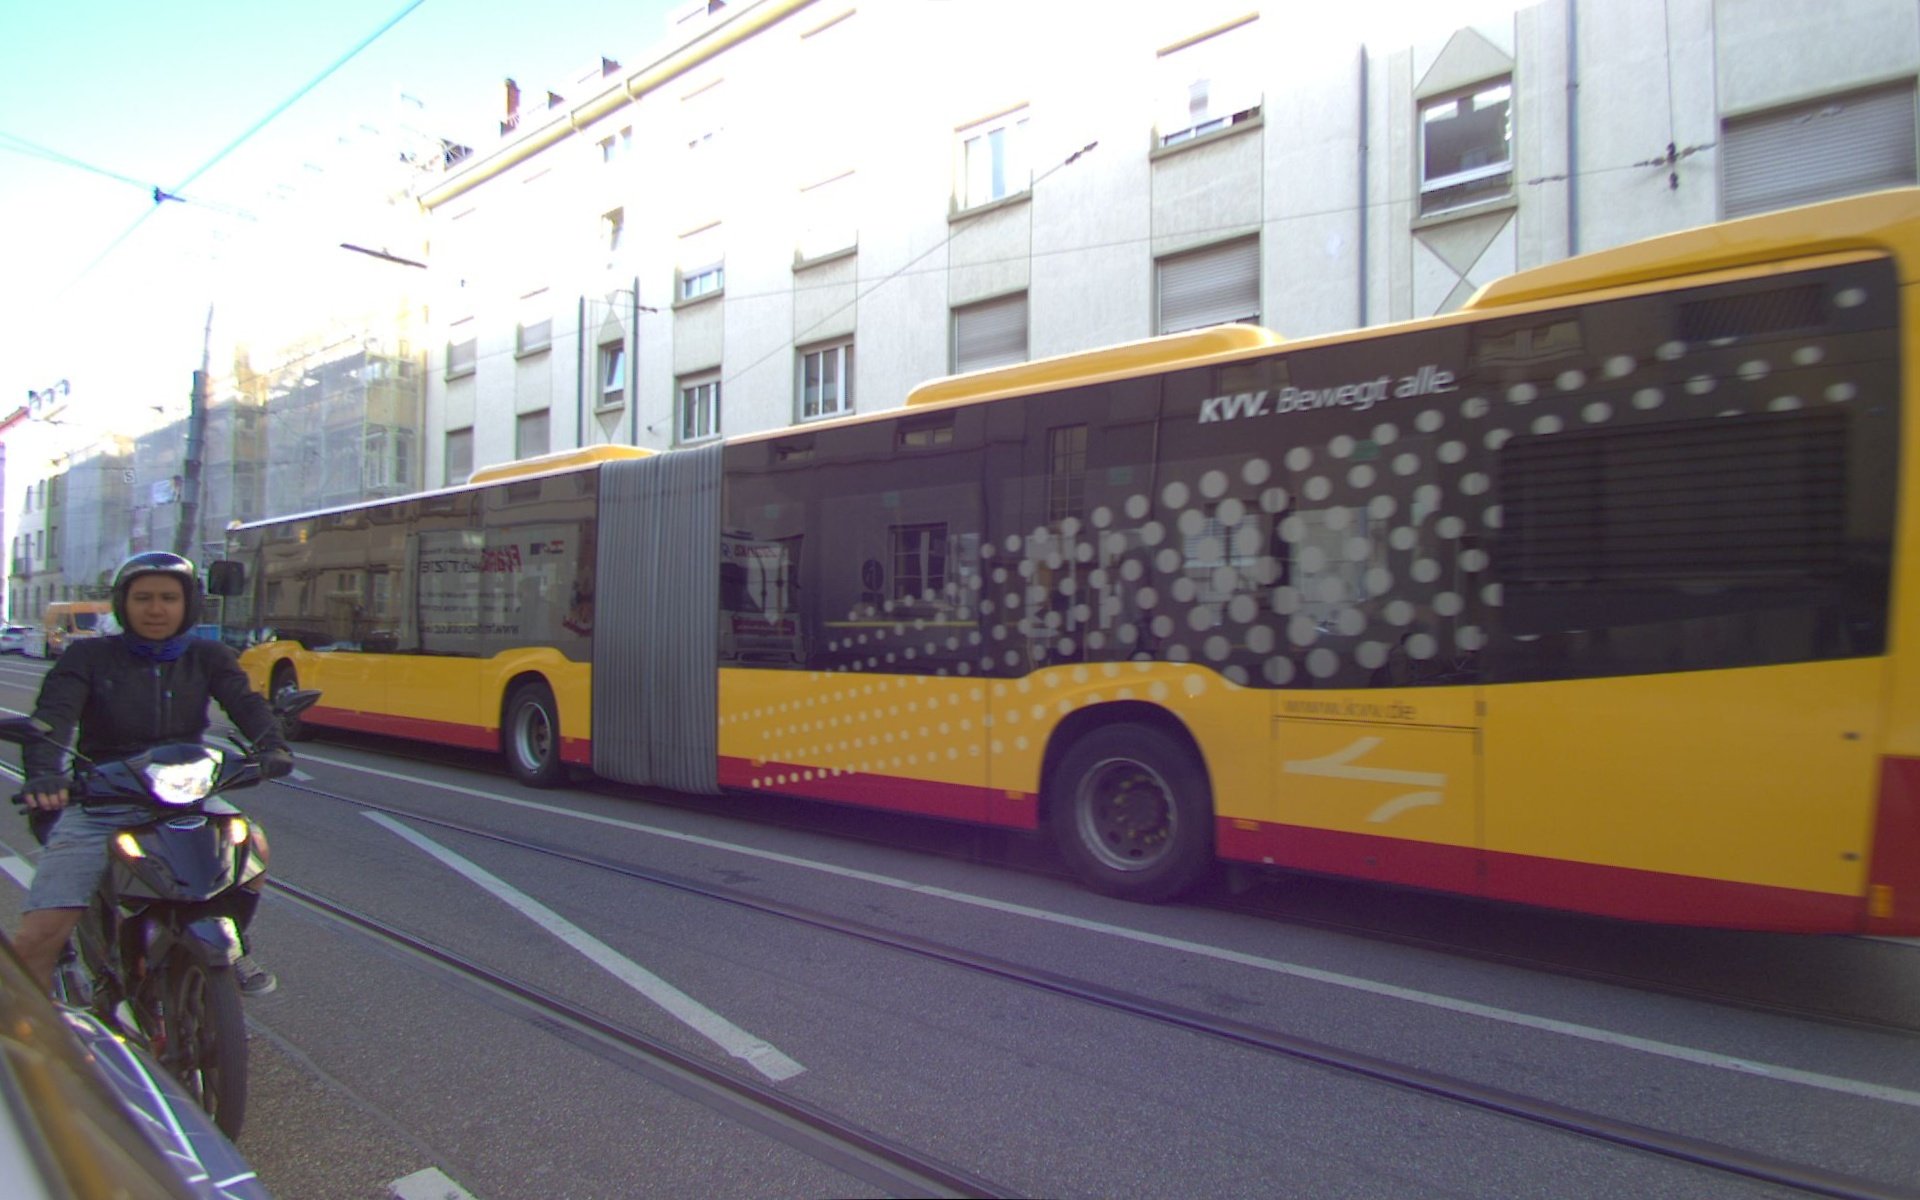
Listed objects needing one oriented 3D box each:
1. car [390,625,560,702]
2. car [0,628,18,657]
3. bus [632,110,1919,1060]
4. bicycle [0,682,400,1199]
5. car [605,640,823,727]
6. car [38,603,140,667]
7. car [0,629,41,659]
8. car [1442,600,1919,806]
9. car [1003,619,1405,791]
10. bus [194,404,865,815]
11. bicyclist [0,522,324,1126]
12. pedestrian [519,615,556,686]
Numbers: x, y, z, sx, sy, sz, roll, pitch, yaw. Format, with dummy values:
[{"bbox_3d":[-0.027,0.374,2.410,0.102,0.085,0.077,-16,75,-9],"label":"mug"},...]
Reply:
[{"bbox_3d":[-10.962,1.364,22.749,4.400,1.580,1.683,-1,-3,39],"label":"car"},{"bbox_3d":[-54.810,2.411,57.123,4.216,1.590,1.682,-1,-1,37],"label":"car"},{"bbox_3d":[1.311,0.036,6.557,7.565,3.186,2.712,-1,-3,37],"label":"bus"},{"bbox_3d":[-2.575,0.892,3.129,1.971,1.186,0.731,-1,-3,38],"label":"bicycle"},{"bbox_3d":[-4.323,1.371,17.556,3.779,1.225,1.684,0,0,37],"label":"car"},{"bbox_3d":[-36.310,1.460,42.124,5.993,2.488,2.099,-1,-3,39],"label":"car"},{"bbox_3d":[-50.074,2.294,53.349,3.995,1.523,1.729,-1,-3,39],"label":"car"},{"bbox_3d":[6.752,0.770,8.802,4.380,1.521,1.683,0,0,38],"label":"car"},{"bbox_3d":[2.718,1.052,11.747,4.235,1.627,1.684,0,0,36],"label":"car"},{"bbox_3d":[-5.775,0.196,12.040,10.180,3.182,2.696,-1,-3,38],"label":"bus"},{"bbox_3d":[-2.635,0.599,3.157,0.849,1.566,0.833,-1,-3,38],"label":"bicyclist"},{"bbox_3d":[-10.369,1.218,24.836,0.716,1.707,0.575,-1,-1,38],"label":"pedestrian"}]
